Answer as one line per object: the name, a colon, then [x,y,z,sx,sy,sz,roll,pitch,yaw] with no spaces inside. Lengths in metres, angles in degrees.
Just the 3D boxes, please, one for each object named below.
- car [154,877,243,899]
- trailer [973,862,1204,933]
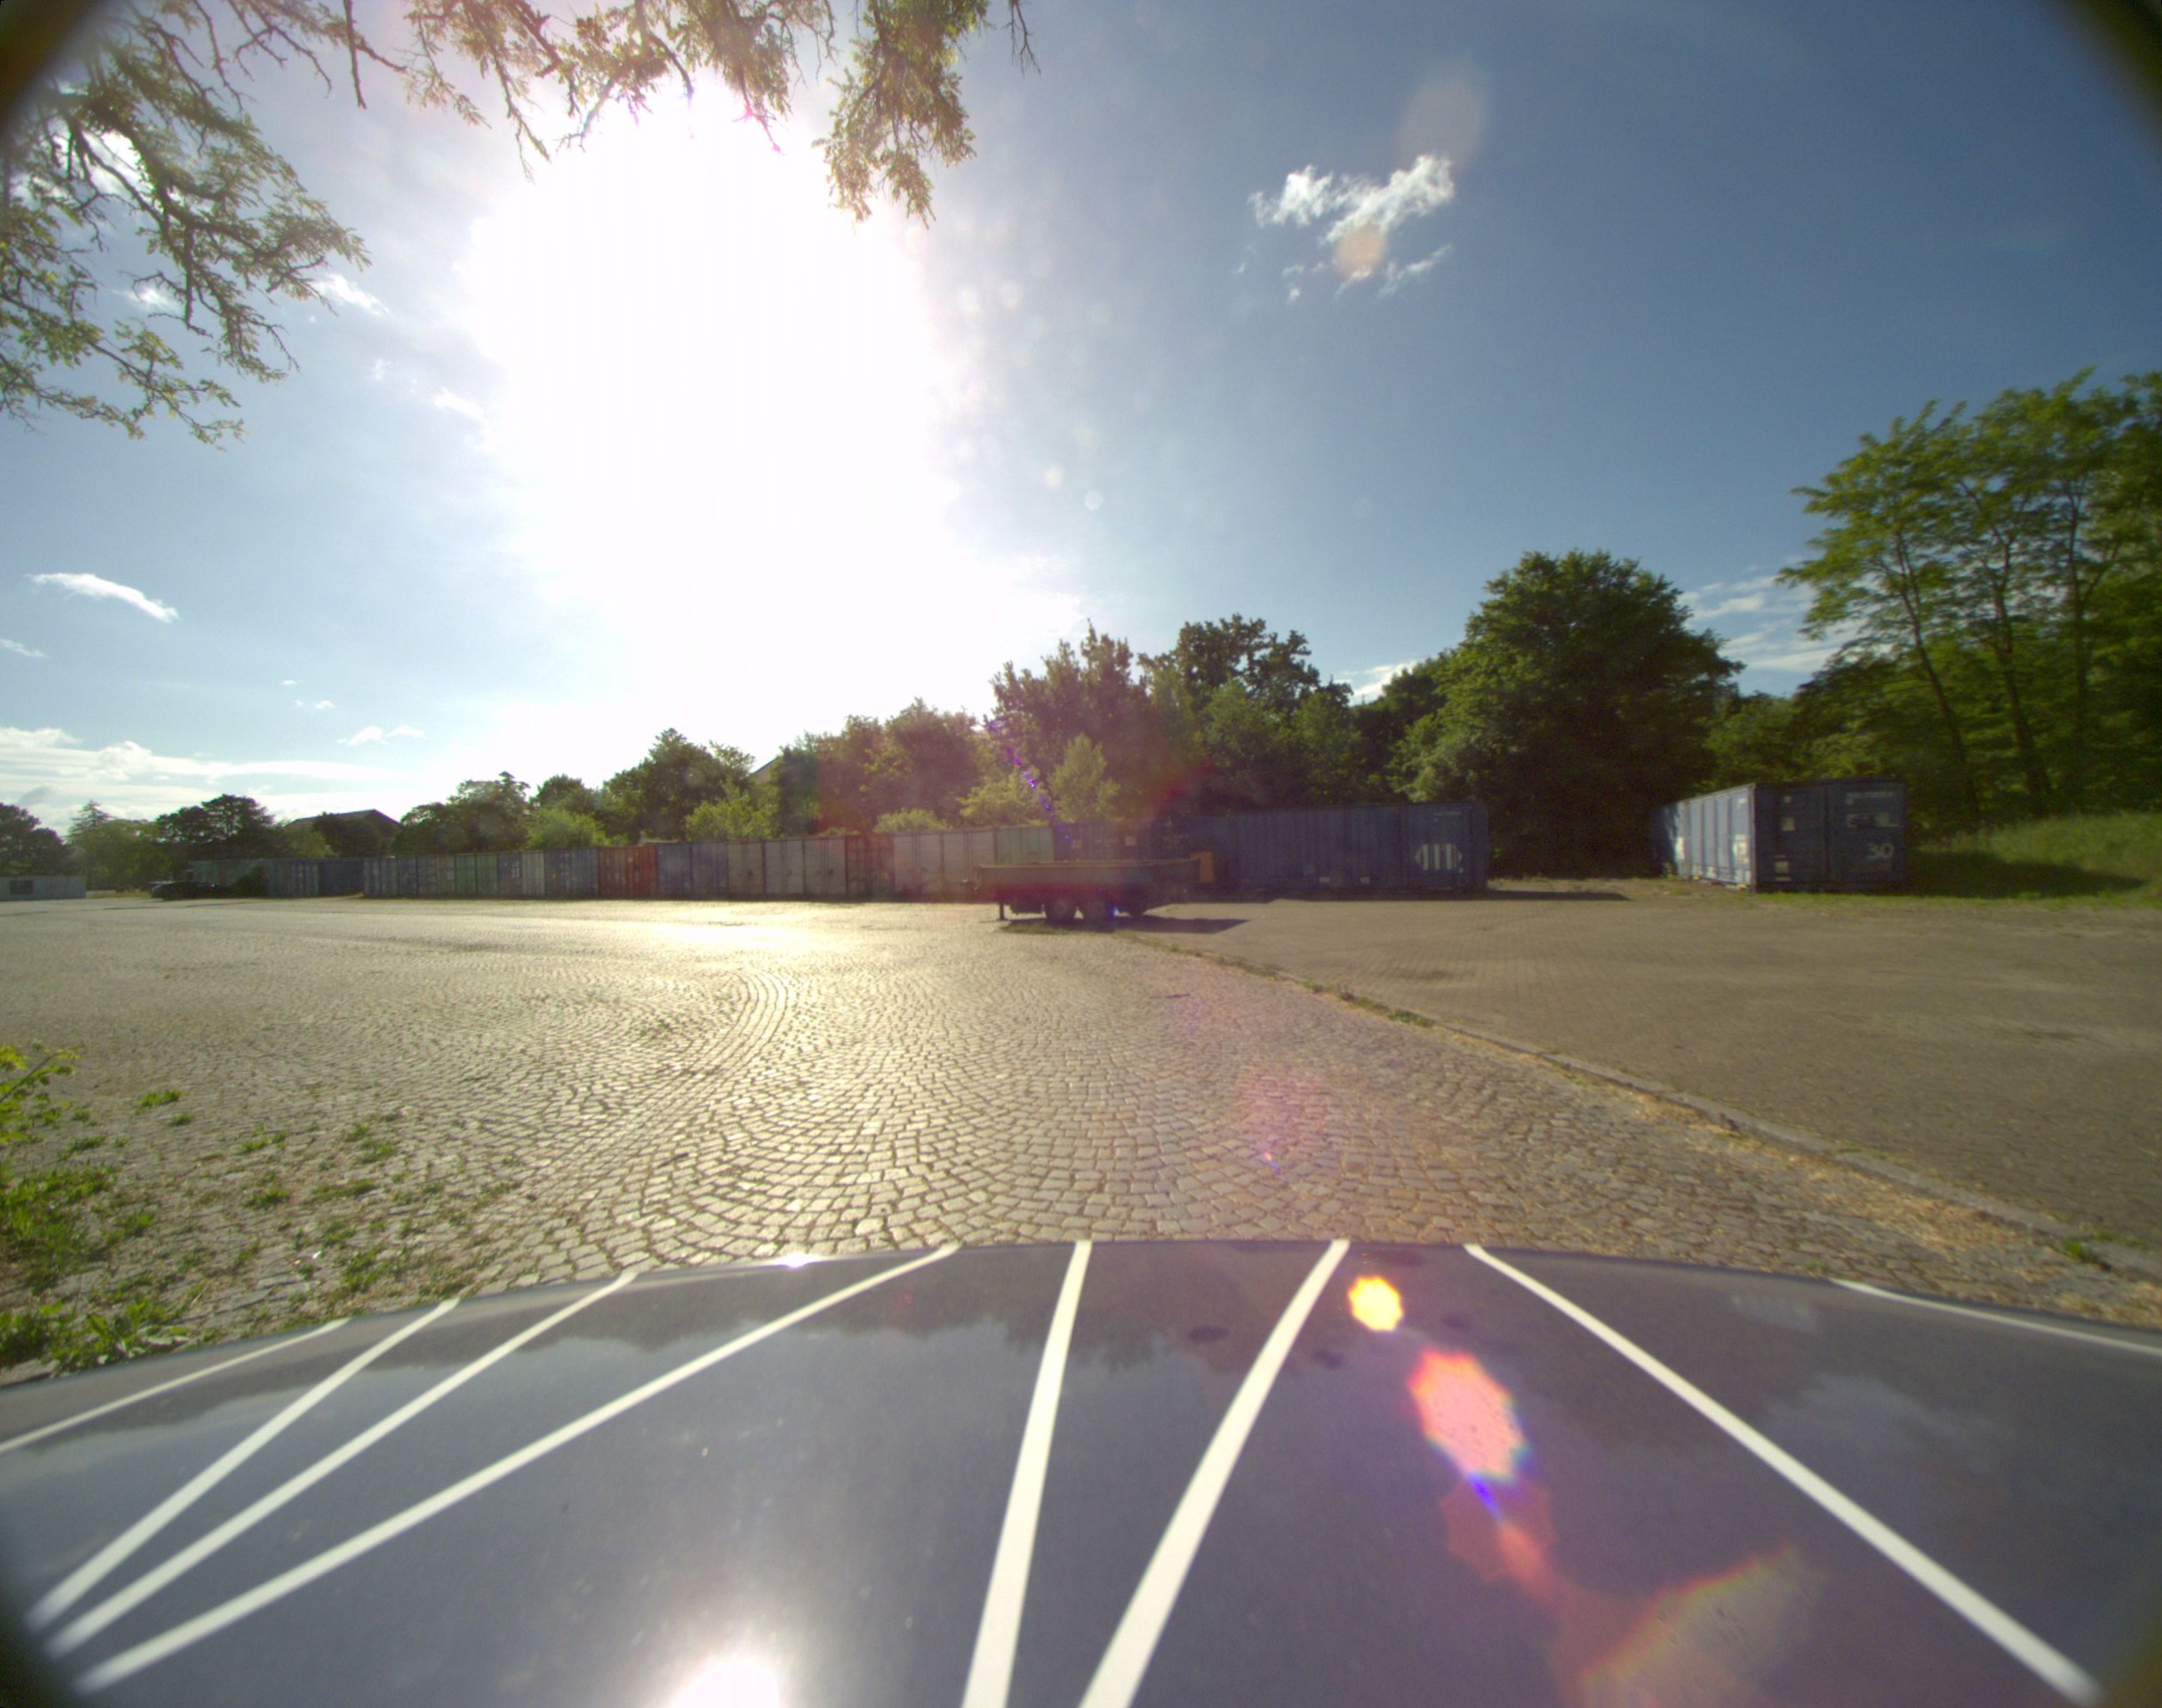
car: [-68.986,2.634,59.468,1.995,1.289,4.121,-1,2,27]
trailer: [0.174,0.965,18.322,4.849,1.406,2.654,-1,1,29]
